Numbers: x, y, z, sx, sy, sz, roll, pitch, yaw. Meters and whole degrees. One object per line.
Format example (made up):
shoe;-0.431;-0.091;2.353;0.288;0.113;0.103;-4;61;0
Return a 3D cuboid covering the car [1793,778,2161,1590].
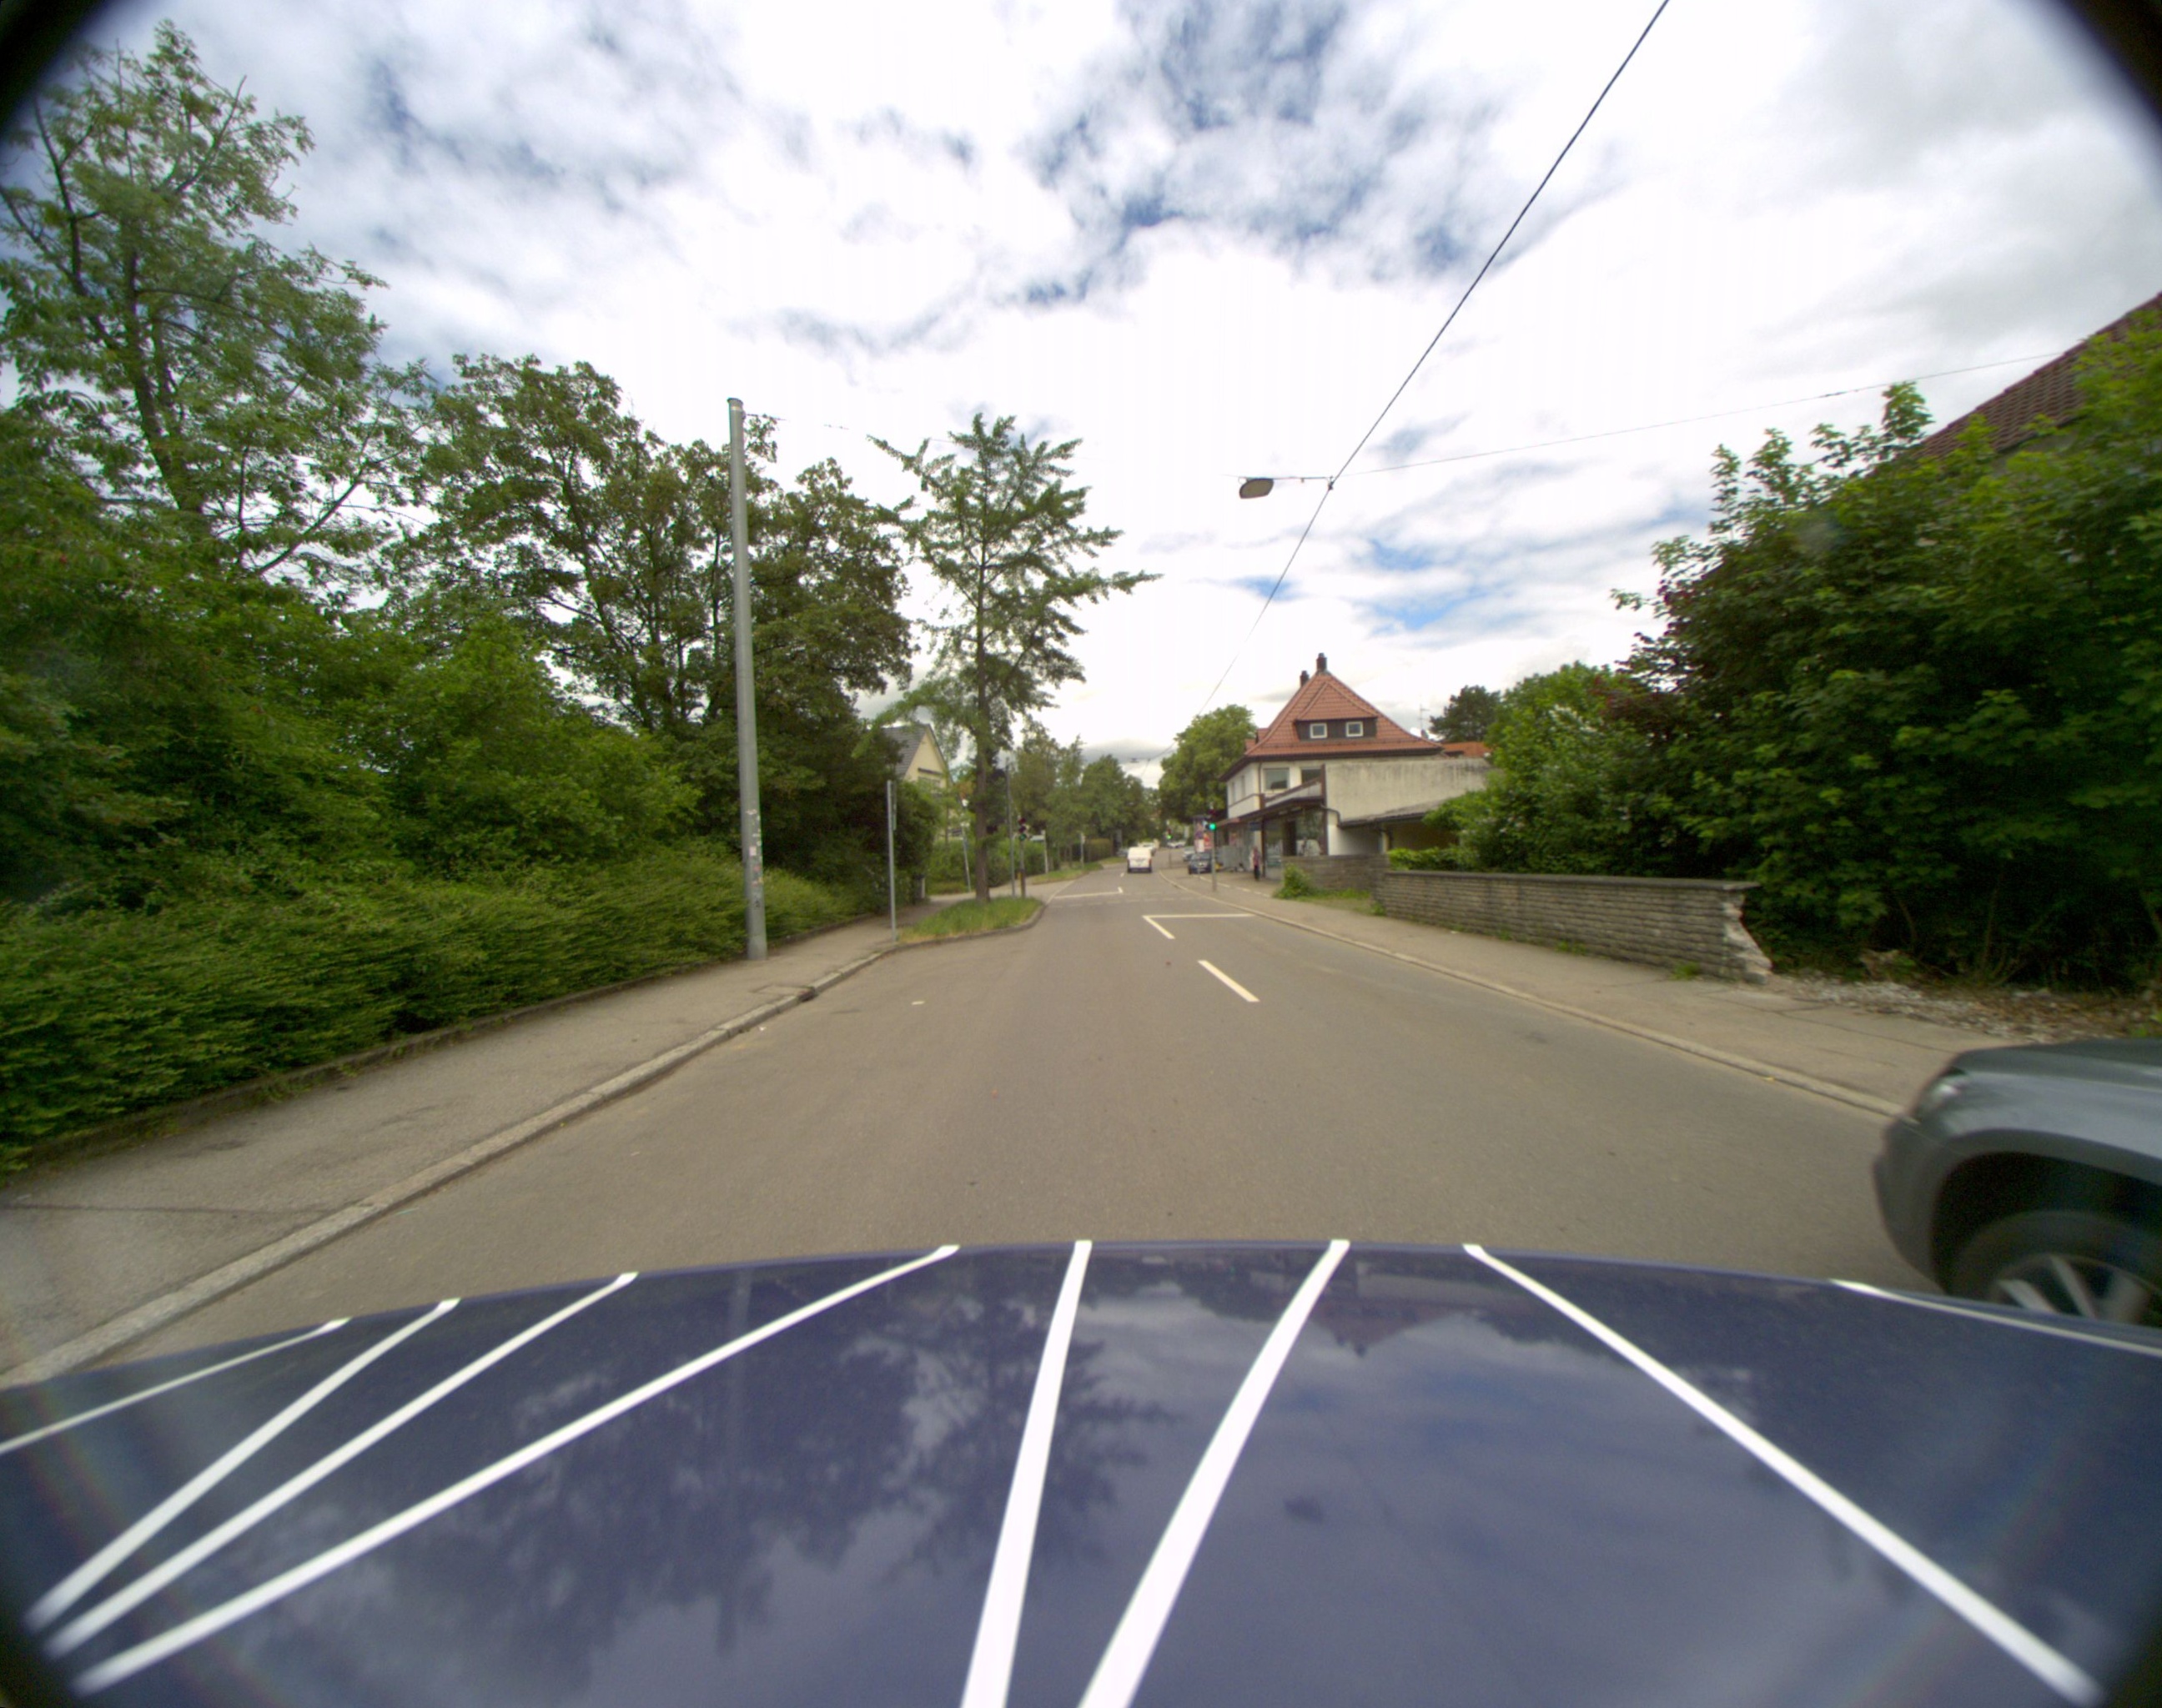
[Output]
car;3.161;0.699;0.254;1.845;1.646;4.137;1;1;-2

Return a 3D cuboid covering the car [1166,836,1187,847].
car;18.980;-2.501;151.078;3.993;1.729;2.001;-4;1;13

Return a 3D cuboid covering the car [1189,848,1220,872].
car;8.313;0.383;51.026;1.822;1.344;3.393;-4;1;11

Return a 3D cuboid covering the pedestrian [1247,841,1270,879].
pedestrian;8.406;0.264;35.961;0.821;1.735;0.604;-4;1;1

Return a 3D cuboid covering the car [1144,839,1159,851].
car;11.563;-1.482;125.124;1.998;1.687;3.999;-4;1;0

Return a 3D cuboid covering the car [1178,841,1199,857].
car;12.011;-0.605;85.069;1.771;1.668;3.999;-4;1;0

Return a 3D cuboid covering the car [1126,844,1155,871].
car;4.566;0.204;58.967;1.885;1.905;4.832;-2;1;0
